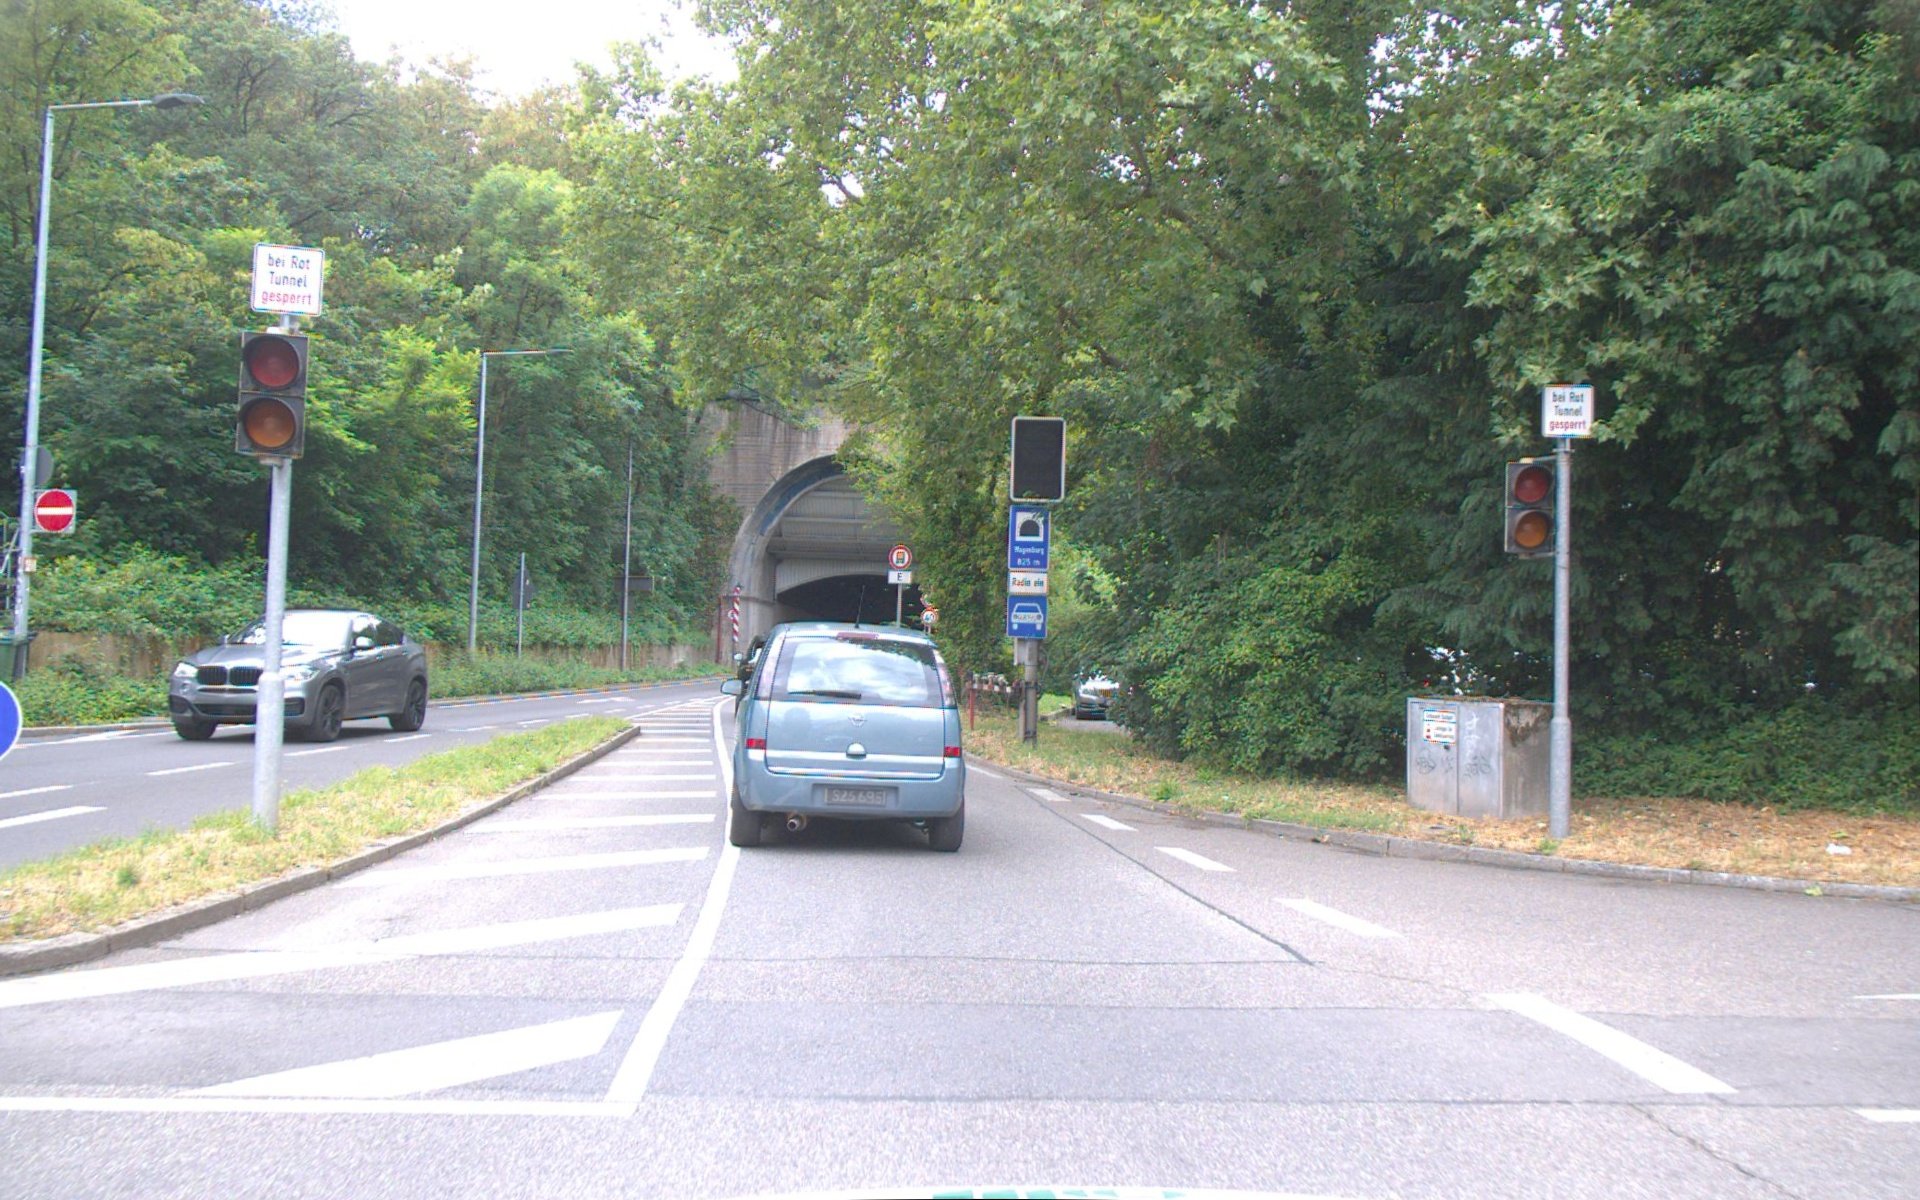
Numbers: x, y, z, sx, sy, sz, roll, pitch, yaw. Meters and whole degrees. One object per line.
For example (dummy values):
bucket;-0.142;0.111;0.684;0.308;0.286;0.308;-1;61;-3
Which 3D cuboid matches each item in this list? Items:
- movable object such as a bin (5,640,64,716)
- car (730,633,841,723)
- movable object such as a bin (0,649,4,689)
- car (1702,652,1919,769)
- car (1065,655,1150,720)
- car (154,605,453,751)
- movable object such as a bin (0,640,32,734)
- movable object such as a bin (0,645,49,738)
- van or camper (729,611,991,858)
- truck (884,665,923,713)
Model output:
movable object such as a bin;-13.296;1.115;23.768;0.545;1.043;0.430;5;-2;-9
car;-3.433;1.565;33.238;1.953;1.682;3.997;1;-2;-3
movable object such as a bin;-12.846;1.117;21.502;0.506;0.984;0.444;5;-2;-8
car;13.899;1.626;25.515;1.959;1.606;4.888;1;-1;-13
car;3.594;2.113;41.051;1.748;1.467;5.063;1;-2;1
car;-8.720;1.004;22.528;1.831;1.728;4.937;1;-1;3
movable object such as a bin;-12.848;1.148;22.059;0.593;1.206;0.491;5;-2;-8
movable object such as a bin;-12.898;1.247;22.604;0.570;1.206;0.430;5;-2;-9
van or camper;-0.906;0.969;12.860;1.703;1.606;3.638;2;-2;-8
truck;-4.593;7.252;135.948;2.620;3.731;7.518;2;-2;2
